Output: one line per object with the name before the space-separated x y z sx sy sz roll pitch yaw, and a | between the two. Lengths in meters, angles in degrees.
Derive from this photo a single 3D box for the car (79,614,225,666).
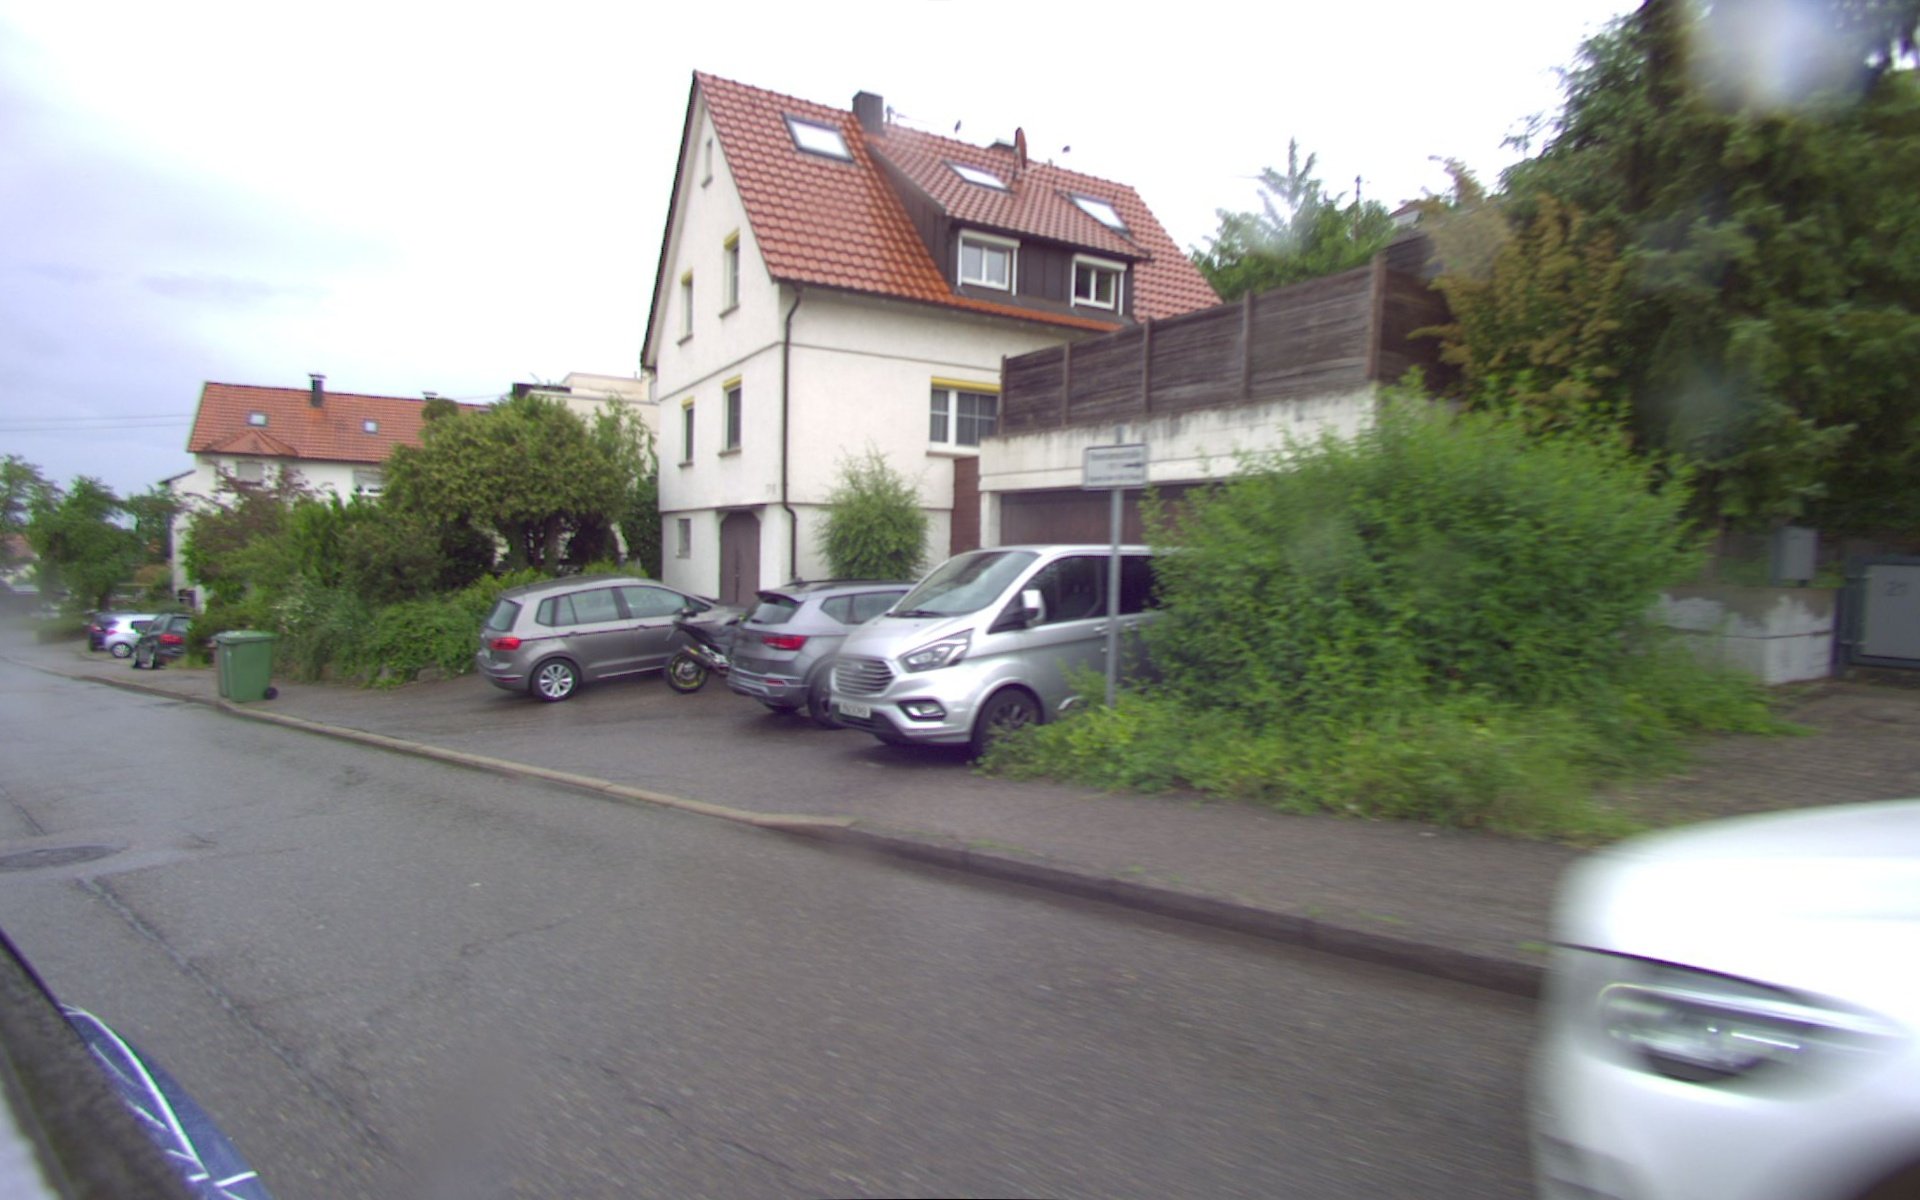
car | -28.529 1.431 35.901 3.775 1.489 1.808 7 -5 -34

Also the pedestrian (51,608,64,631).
pedestrian | -66.757 1.428 74.849 0.647 1.661 0.734 0 -2 -37

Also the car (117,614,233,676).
car | -22.313 1.209 28.710 4.415 1.609 1.784 -1 -1 41

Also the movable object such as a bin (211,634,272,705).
movable object such as a bin | -11.545 1.101 16.267 0.697 1.072 0.597 -1 0 37

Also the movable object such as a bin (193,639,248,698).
movable object such as a bin | -12.553 1.148 17.190 0.563 0.935 0.597 -1 0 37

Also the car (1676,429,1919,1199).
car | 3.319 0.545 0.754 4.424 1.620 1.887 -1 0 39

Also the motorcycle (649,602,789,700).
motorcycle | -3.371 0.680 14.198 1.755 1.179 0.642 -4 4 -28

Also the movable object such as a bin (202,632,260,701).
movable object such as a bin | -12.069 1.089 16.750 0.637 1.072 0.597 -1 0 37

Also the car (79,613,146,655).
car | -32.431 1.239 38.680 1.745 1.386 4.253 -4 3 -42

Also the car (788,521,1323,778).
car | 1.058 0.404 9.999 5.015 1.959 2.147 0 -1 -33

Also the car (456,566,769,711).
car | -5.161 0.471 15.236 4.002 1.704 1.898 -5 3 -36

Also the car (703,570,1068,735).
car | -0.856 0.505 12.349 3.999 1.650 1.899 -2 1 -33
